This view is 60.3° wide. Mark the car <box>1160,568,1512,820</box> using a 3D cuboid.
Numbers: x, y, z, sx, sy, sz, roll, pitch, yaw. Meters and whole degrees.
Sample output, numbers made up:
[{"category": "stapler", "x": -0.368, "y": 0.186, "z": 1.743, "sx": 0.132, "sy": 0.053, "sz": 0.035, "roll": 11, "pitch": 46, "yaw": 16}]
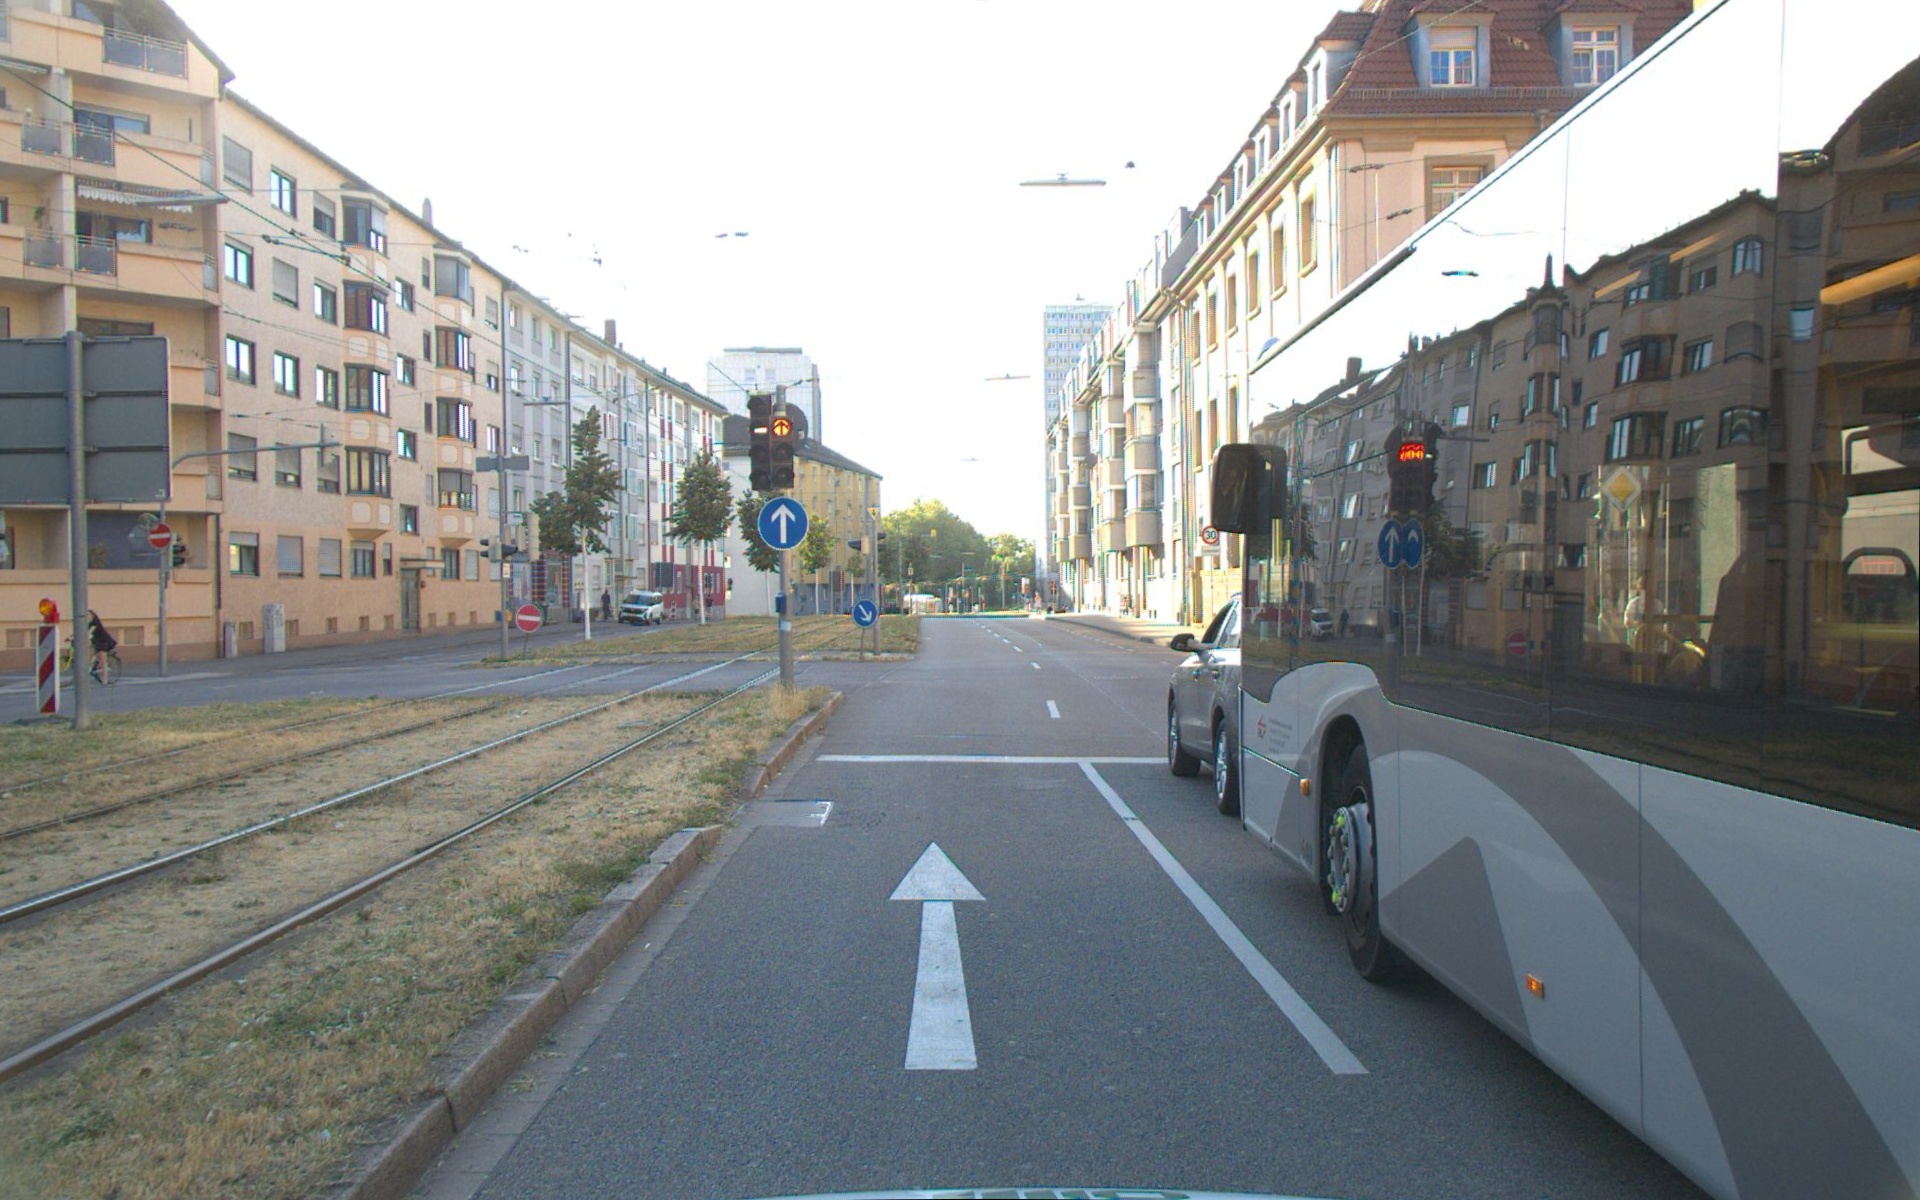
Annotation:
[{"category": "car", "x": 2.722, "y": 0.606, "z": 12.930, "sx": 1.734, "sy": 1.603, "sz": 4.085, "roll": -2, "pitch": 0, "yaw": -1}]

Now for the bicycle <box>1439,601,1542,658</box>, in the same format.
[{"category": "bicycle", "x": 10.680, "y": 0.588, "z": 33.311, "sx": 1.905, "sy": 1.113, "sz": 0.575, "roll": 0, "pitch": 0, "yaw": -4}]

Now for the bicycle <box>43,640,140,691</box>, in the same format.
[{"category": "bicycle", "x": -18.998, "y": 1.422, "z": 36.213, "sx": 0.517, "sy": 1.001, "sz": 1.880, "roll": -2, "pitch": 0, "yaw": 29}]

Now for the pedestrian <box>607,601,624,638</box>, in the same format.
[{"category": "pedestrian", "x": -19.491, "y": 1.076, "z": 93.550, "sx": 0.771, "sy": 2.049, "sz": 0.890, "roll": -1, "pitch": 0, "yaw": -4}]

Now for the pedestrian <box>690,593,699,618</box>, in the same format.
[{"category": "pedestrian", "x": -18.534, "y": 0.378, "z": 115.549, "sx": 0.485, "sy": 1.687, "sz": 0.408, "roll": -2, "pitch": 0, "yaw": -1}]

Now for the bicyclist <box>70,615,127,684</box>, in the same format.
[{"category": "bicyclist", "x": -18.928, "y": 1.089, "z": 36.355, "sx": 0.517, "sy": 1.472, "sz": 0.964, "roll": -2, "pitch": 0, "yaw": 29}]

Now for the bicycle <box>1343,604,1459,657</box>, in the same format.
[{"category": "bicycle", "x": 8.307, "y": 0.568, "z": 31.180, "sx": 1.943, "sy": 0.909, "sz": 0.784, "roll": -2, "pitch": 0, "yaw": -11}]

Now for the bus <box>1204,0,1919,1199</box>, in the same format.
[{"category": "bus", "x": 2.806, "y": -0.074, "z": 4.856, "sx": 2.683, "sy": 3.109, "sz": 9.129, "roll": 0, "pitch": 0, "yaw": -1}]

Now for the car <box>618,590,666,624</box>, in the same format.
[{"category": "car", "x": -17.815, "y": 0.406, "z": 92.838, "sx": 1.774, "sy": 1.829, "sz": 4.245, "roll": 1, "pitch": 0, "yaw": 1}]
